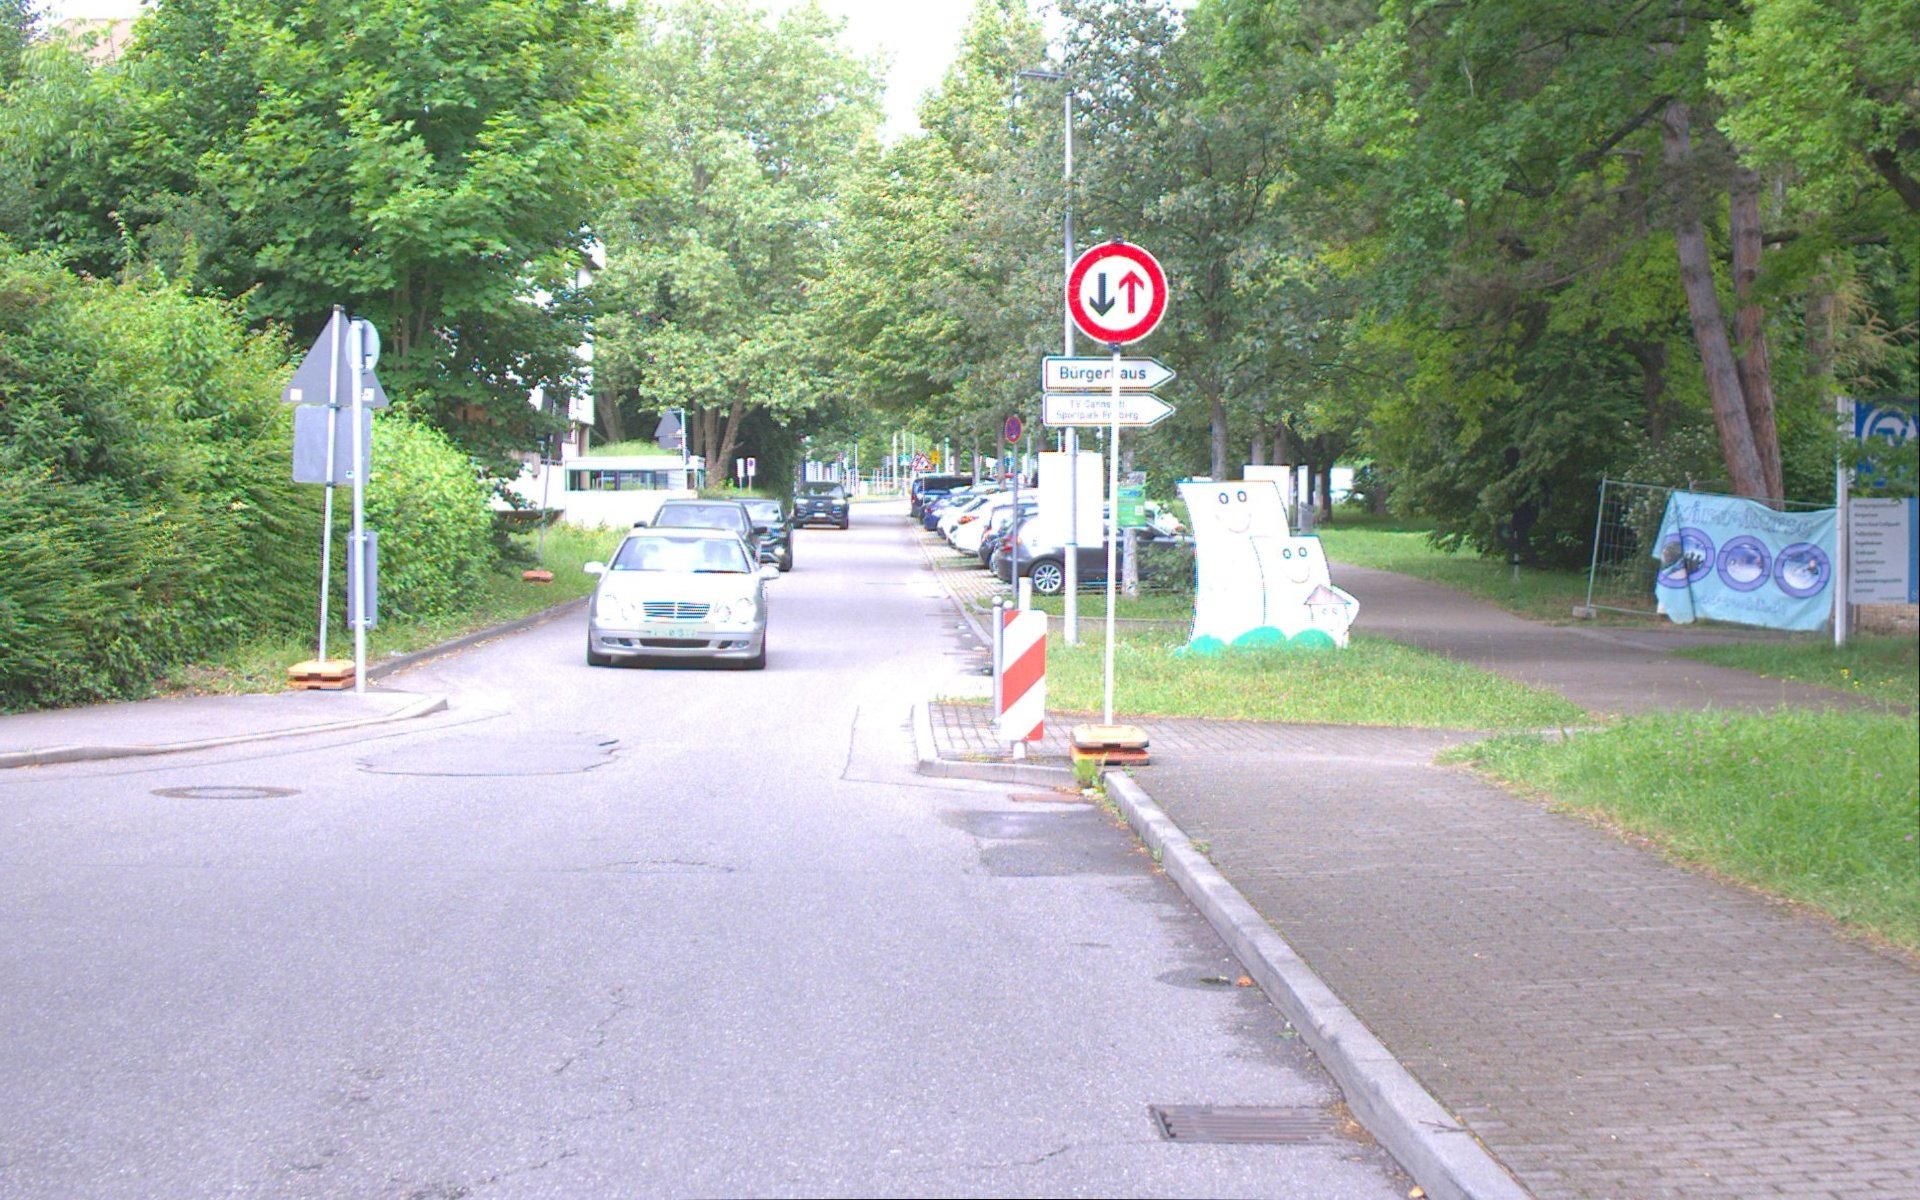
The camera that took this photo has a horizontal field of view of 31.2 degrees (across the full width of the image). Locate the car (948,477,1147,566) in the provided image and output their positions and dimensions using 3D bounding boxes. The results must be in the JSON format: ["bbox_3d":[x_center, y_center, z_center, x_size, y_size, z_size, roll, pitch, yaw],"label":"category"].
[{"bbox_3d":[1.885,-1.722,74.776,4.062,1.681,1.823,-4,2,-4],"label":"car"}]

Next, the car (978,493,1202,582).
[{"bbox_3d":[2.422,-1.188,64.857,4.062,1.563,1.823,-1,2,-2],"label":"car"}]

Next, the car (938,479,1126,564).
[{"bbox_3d":[1.640,-1.808,78.921,4.062,1.681,1.823,-4,2,-4],"label":"car"}]

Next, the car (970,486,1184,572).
[{"bbox_3d":[2.350,-1.442,69.741,4.062,1.483,1.823,-4,2,-4],"label":"car"}]

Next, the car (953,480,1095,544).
[{"bbox_3d":[1.926,-2.681,104.281,4.062,1.681,1.823,-4,2,-4],"label":"car"}]

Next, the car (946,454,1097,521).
[{"bbox_3d":[1.738,-3.211,98.127,4.062,1.681,1.823,-4,2,-4],"label":"car"}]

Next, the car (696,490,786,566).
[{"bbox_3d":[-4.723,-1.585,74.522,1.803,1.586,4.297,0,2,-2],"label":"car"}]

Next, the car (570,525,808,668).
[{"bbox_3d":[-2.645,-0.080,34.456,1.781,1.302,4.296,1,2,4],"label":"car"}]

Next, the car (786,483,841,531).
[{"bbox_3d":[-5.404,-3.433,127.012,1.968,1.741,4.339,0,2,-2],"label":"car"}]

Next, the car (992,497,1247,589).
[{"bbox_3d":[2.627,-0.935,57.241,4.062,1.429,2.000,-1,0,-2],"label":"car"}]

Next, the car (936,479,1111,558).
[{"bbox_3d":[1.553,-2.021,84.592,4.062,1.681,1.823,-4,2,-4],"label":"car"}]
